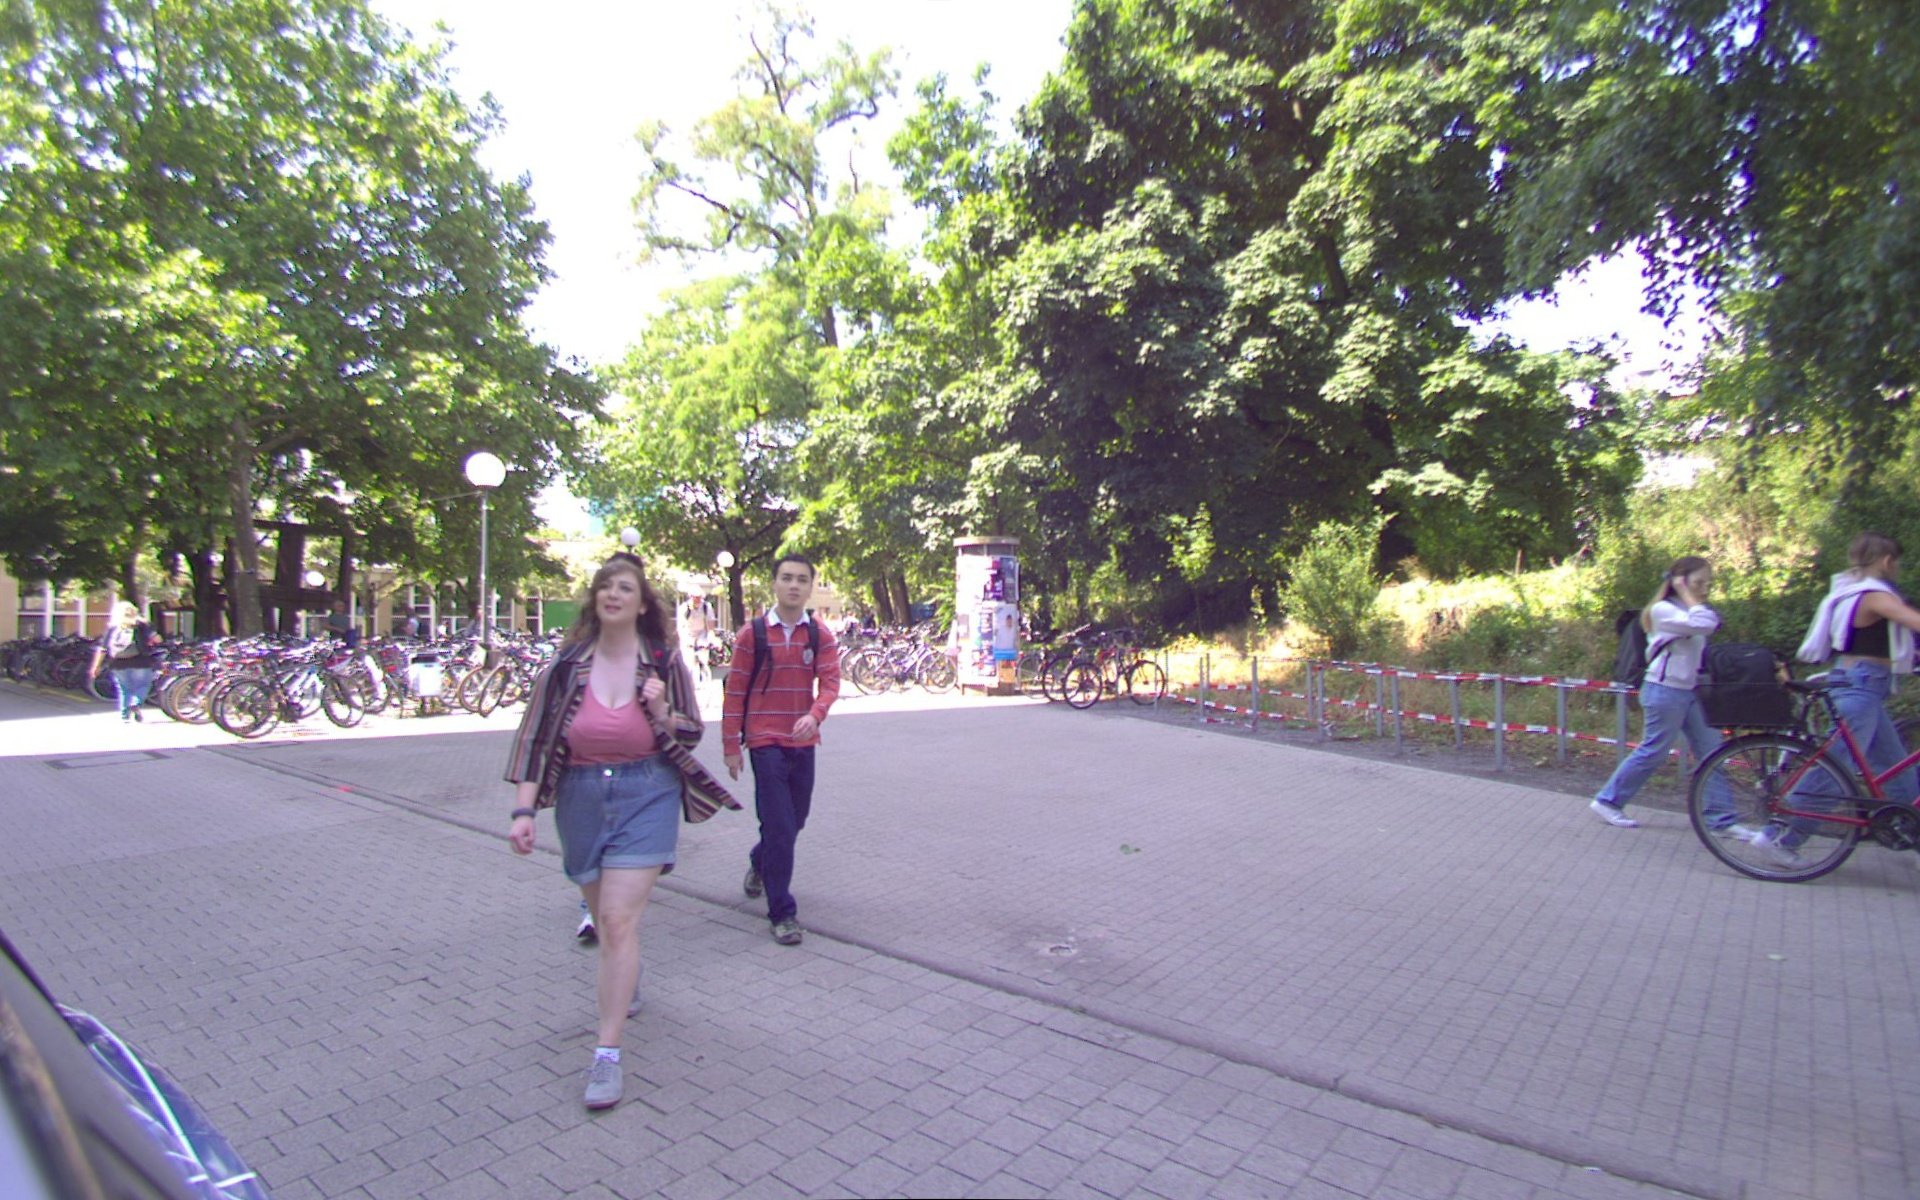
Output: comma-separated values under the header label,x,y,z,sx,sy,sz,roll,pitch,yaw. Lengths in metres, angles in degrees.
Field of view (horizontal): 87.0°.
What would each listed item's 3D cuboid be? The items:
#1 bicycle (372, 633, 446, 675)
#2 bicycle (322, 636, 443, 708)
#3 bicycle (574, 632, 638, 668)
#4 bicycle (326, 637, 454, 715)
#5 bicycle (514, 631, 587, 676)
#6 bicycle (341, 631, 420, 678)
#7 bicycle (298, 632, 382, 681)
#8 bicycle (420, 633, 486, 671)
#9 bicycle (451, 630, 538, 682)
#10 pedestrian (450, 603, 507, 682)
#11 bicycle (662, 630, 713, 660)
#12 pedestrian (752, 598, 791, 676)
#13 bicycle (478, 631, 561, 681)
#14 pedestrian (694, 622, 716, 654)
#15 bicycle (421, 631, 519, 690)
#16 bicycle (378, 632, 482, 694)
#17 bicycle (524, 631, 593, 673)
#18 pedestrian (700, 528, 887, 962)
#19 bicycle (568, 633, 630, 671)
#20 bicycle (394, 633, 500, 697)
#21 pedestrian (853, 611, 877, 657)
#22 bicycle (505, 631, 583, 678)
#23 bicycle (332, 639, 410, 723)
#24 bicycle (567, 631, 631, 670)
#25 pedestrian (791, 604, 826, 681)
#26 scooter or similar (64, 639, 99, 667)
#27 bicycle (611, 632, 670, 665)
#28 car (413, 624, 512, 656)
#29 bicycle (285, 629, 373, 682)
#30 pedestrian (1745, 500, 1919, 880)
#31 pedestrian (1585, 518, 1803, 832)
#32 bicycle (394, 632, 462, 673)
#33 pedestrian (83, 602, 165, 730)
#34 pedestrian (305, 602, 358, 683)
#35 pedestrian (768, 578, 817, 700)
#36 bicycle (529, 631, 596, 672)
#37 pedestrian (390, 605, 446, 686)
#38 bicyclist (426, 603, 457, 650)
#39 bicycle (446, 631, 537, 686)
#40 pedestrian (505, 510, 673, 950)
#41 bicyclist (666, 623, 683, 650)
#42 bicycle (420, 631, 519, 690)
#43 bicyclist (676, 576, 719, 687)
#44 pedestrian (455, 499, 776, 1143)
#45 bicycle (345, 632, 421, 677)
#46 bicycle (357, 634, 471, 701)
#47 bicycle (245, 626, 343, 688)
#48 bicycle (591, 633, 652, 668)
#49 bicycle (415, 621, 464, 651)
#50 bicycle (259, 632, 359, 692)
label,x,y,z,sx,sy,sz,roll,pitch,yaw
bicycle,-15.185,1.476,27.914,1.672,1.116,0.633,-1,-1,-10
bicycle,-9.419,1.154,16.544,1.672,1.092,0.475,0,-1,-37
bicycle,-11.038,1.560,31.567,1.834,1.092,0.474,-1,-1,3
bicycle,-8.787,1.147,15.628,1.672,1.092,0.475,0,-1,-38
bicycle,-10.424,1.357,25.770,1.677,1.092,0.474,-1,-1,3
bicycle,-14.633,1.370,25.586,1.671,1.116,0.504,0,-1,-14
bicycle,-15.011,1.357,24.522,1.671,1.116,0.504,0,-1,-14
bicycle,-15.284,1.570,30.516,1.756,1.116,0.502,-1,-1,3
bicycle,-10.205,1.215,22.237,1.671,1.092,0.475,0,-1,-14
pedestrian,-10.731,0.940,22.594,0.895,1.716,0.769,-1,-1,2
bicycle,-10.385,1.715,38.570,1.834,1.092,0.474,-1,-1,3
pedestrian,-4.555,0.883,24.480,0.822,1.829,0.883,-1,-1,-3
bicycle,-10.134,1.280,23.314,1.673,1.092,0.475,-1,-1,-5
pedestrian,-13.284,1.980,52.775,0.727,1.697,0.863,-2,-3,37
bicycle,-9.671,1.183,20.021,1.671,1.092,0.475,0,-1,-14
bicycle,-9.870,1.167,18.886,1.670,1.092,0.475,0,-1,-18
bicycle,-10.686,1.376,26.964,1.677,1.092,0.474,-1,-1,3
pedestrian,-0.812,0.596,4.687,0.707,1.737,1.068,0,-2,-17
bicycle,-10.821,1.561,30.352,1.677,1.092,0.474,-1,-1,3
bicycle,-9.372,1.173,18.528,1.670,1.092,0.475,0,-1,-18
pedestrian,-3.719,1.323,39.666,0.760,1.788,0.905,-1,-1,7
bicycle,-10.083,1.319,24.553,1.673,1.092,0.475,-1,-1,-5
bicycle,-8.382,1.123,14.374,1.700,1.092,0.501,-1,-1,44
bicycle,-10.428,1.457,29.228,1.677,1.092,0.474,-1,-1,3
pedestrian,-3.666,1.011,24.541,0.758,1.817,0.985,-1,-1,-4
scooter or similar,-39.174,2.369,45.136,0.289,1.235,1.142,-3,-3,43
bicycle,-10.797,1.631,34.217,1.834,1.092,0.474,-1,-1,3
car,-27.056,2.163,55.188,1.836,1.630,4.481,0,-1,38
bicycle,-14.897,1.300,23.912,1.671,1.209,0.577,0,-1,-14
pedestrian,4.522,0.417,4.934,0.933,1.737,0.671,-2,-2,28
pedestrian,4.287,0.428,5.972,0.722,1.737,0.685,-1,-2,4
bicycle,-15.294,1.504,29.129,1.672,1.116,0.504,-1,-1,-10
pedestrian,-11.692,0.887,14.178,0.757,1.692,0.909,-2,1,-35
pedestrian,-14.466,0.976,23.301,0.701,1.820,0.768,-1,-1,7
pedestrian,-2.663,0.605,16.009,0.603,1.849,1.053,0,-1,-19
bicycle,-10.954,1.422,27.935,1.677,1.092,0.474,-1,-1,3
pedestrian,-11.824,0.978,22.086,0.894,1.716,0.770,0,-2,-45
bicyclist,-21.760,1.113,42.468,0.797,1.906,0.864,-3,-3,13
bicycle,-9.795,1.213,21.198,1.671,1.092,0.475,0,-1,-14
pedestrian,-1.719,0.558,4.817,0.674,1.849,0.944,0,-2,-16
bicyclist,-16.345,2.084,57.991,0.605,1.546,0.717,0,-1,42
bicycle,-9.465,1.158,19.579,1.671,1.092,0.475,0,-1,-14
bicyclist,-3.861,0.450,14.870,0.585,1.580,0.723,0,-1,-14
pedestrian,-1.101,0.598,3.234,0.731,1.737,0.677,-2,-1,41
bicycle,-15.249,1.434,26.760,1.672,1.116,0.504,-1,-1,-10
bicycle,-9.440,1.151,17.553,1.671,1.092,0.475,0,-1,-14
bicycle,-13.964,1.173,21.255,0.500,1.229,1.683,-1,-1,29
bicycle,-10.980,1.626,32.832,1.834,1.092,0.474,-1,-1,3
bicycle,-21.767,1.490,42.385,0.797,1.181,1.878,-2,-1,13
bicycle,-13.187,1.232,20.557,0.500,1.116,1.683,-1,-1,29
